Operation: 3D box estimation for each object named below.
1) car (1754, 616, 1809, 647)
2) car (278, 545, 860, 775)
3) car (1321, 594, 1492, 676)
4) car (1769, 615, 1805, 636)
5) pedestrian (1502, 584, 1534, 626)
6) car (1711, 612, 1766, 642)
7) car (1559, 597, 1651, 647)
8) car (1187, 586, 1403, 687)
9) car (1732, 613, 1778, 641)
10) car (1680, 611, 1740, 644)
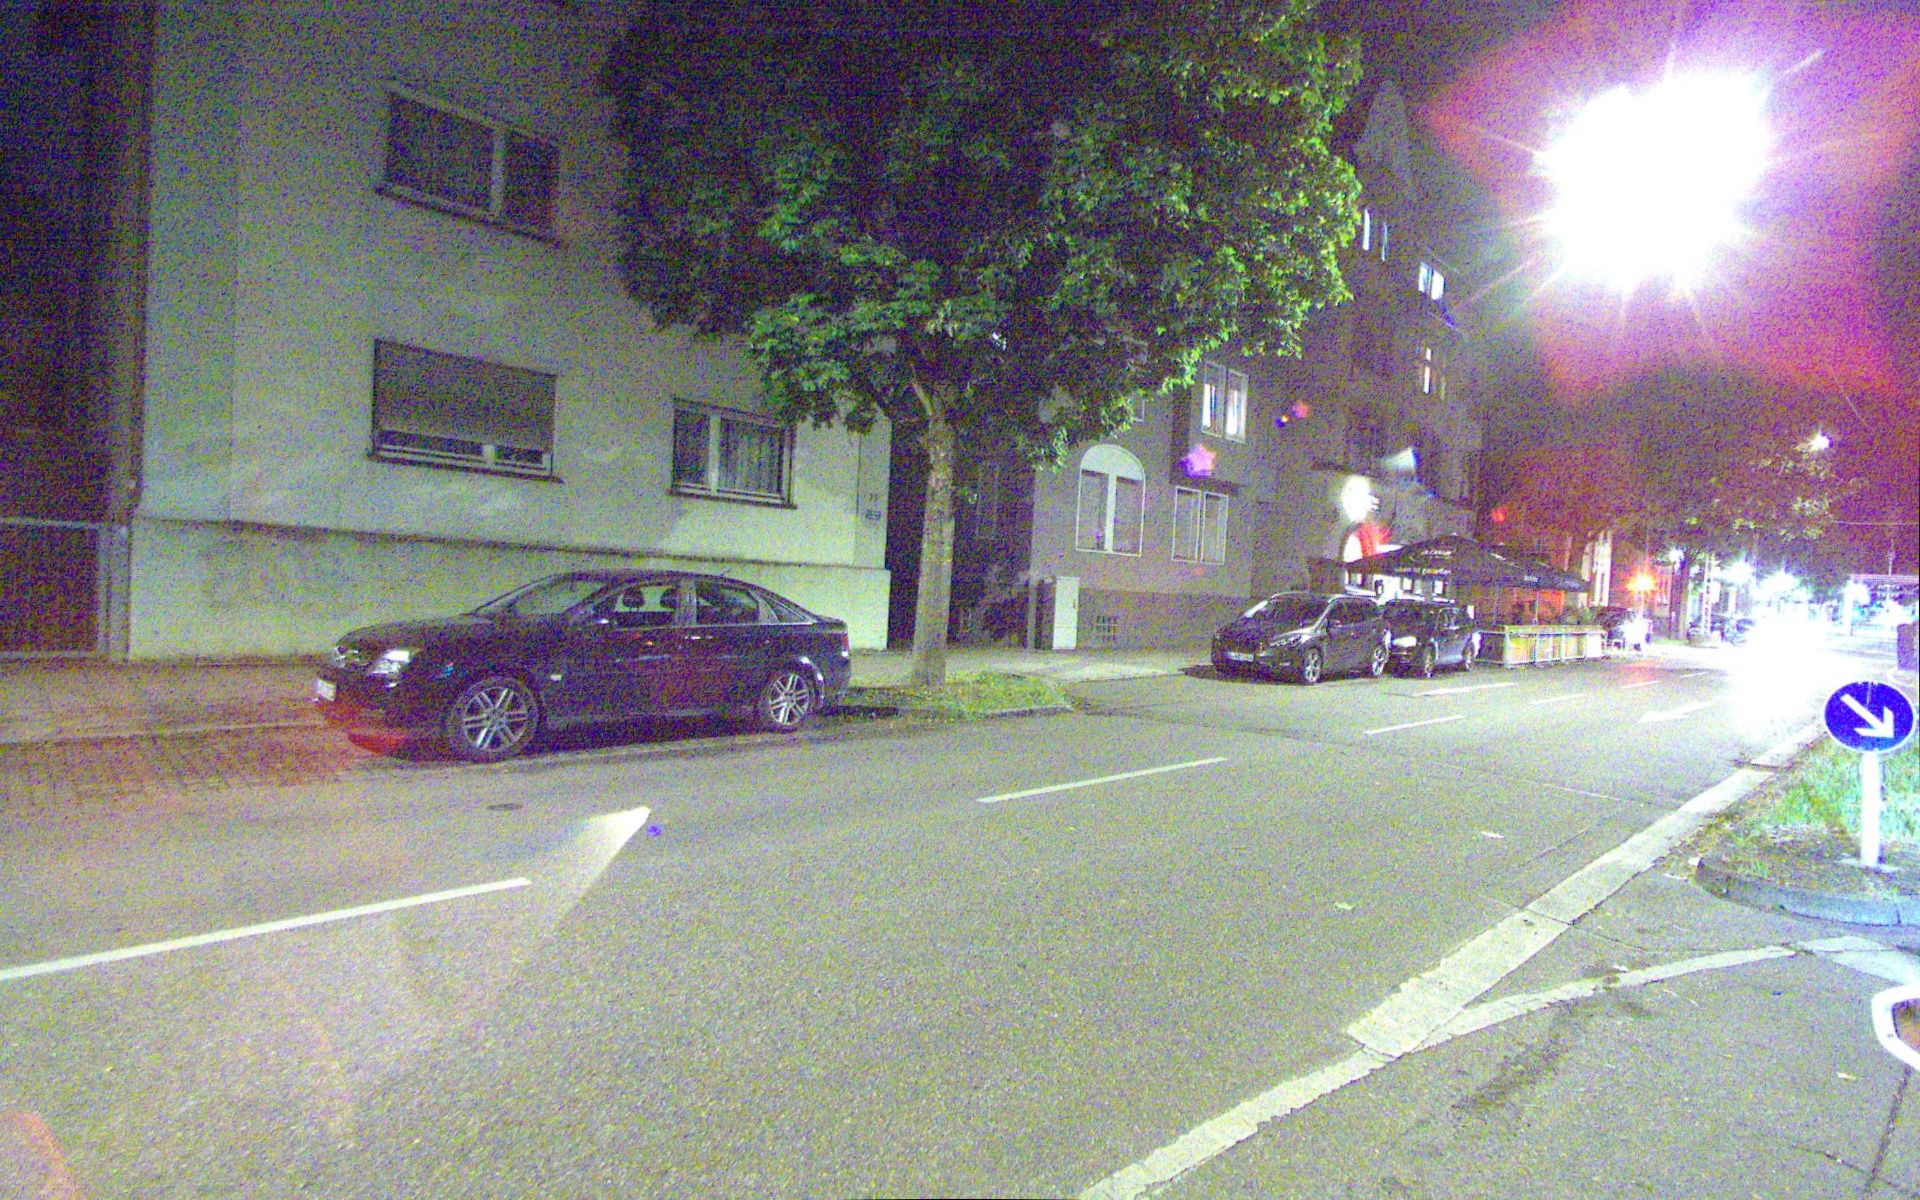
[{"bbox_3d":[40.640,1.539,49.669,3.974,1.449,1.698,1,1,-45],"label":"car"},{"bbox_3d":[-3.153,0.398,8.817,1.840,1.453,4.379,6,3,42],"label":"car"},{"bbox_3d":[9.742,0.724,21.736,1.842,1.453,4.415,6,3,45],"label":"car"},{"bbox_3d":[63.499,1.927,77.077,1.765,1.434,4.102,6,4,43],"label":"car"},{"bbox_3d":[23.563,0.216,42.438,1.113,1.713,0.705,1,2,-35],"label":"pedestrian"},{"bbox_3d":[44.871,1.560,57.859,4.299,1.511,1.767,1,5,-43],"label":"car"},{"bbox_3d":[23.954,0.816,37.247,3.996,1.618,1.867,2,3,-44],"label":"car"},{"bbox_3d":[6.143,0.616,18.115,1.842,1.499,4.444,5,2,45],"label":"car"},{"bbox_3d":[49.046,1.638,61.908,1.765,1.511,3.976,8,5,43],"label":"car"},{"bbox_3d":[38.764,1.417,51.897,3.670,1.511,1.578,2,4,-41],"label":"car"}]
